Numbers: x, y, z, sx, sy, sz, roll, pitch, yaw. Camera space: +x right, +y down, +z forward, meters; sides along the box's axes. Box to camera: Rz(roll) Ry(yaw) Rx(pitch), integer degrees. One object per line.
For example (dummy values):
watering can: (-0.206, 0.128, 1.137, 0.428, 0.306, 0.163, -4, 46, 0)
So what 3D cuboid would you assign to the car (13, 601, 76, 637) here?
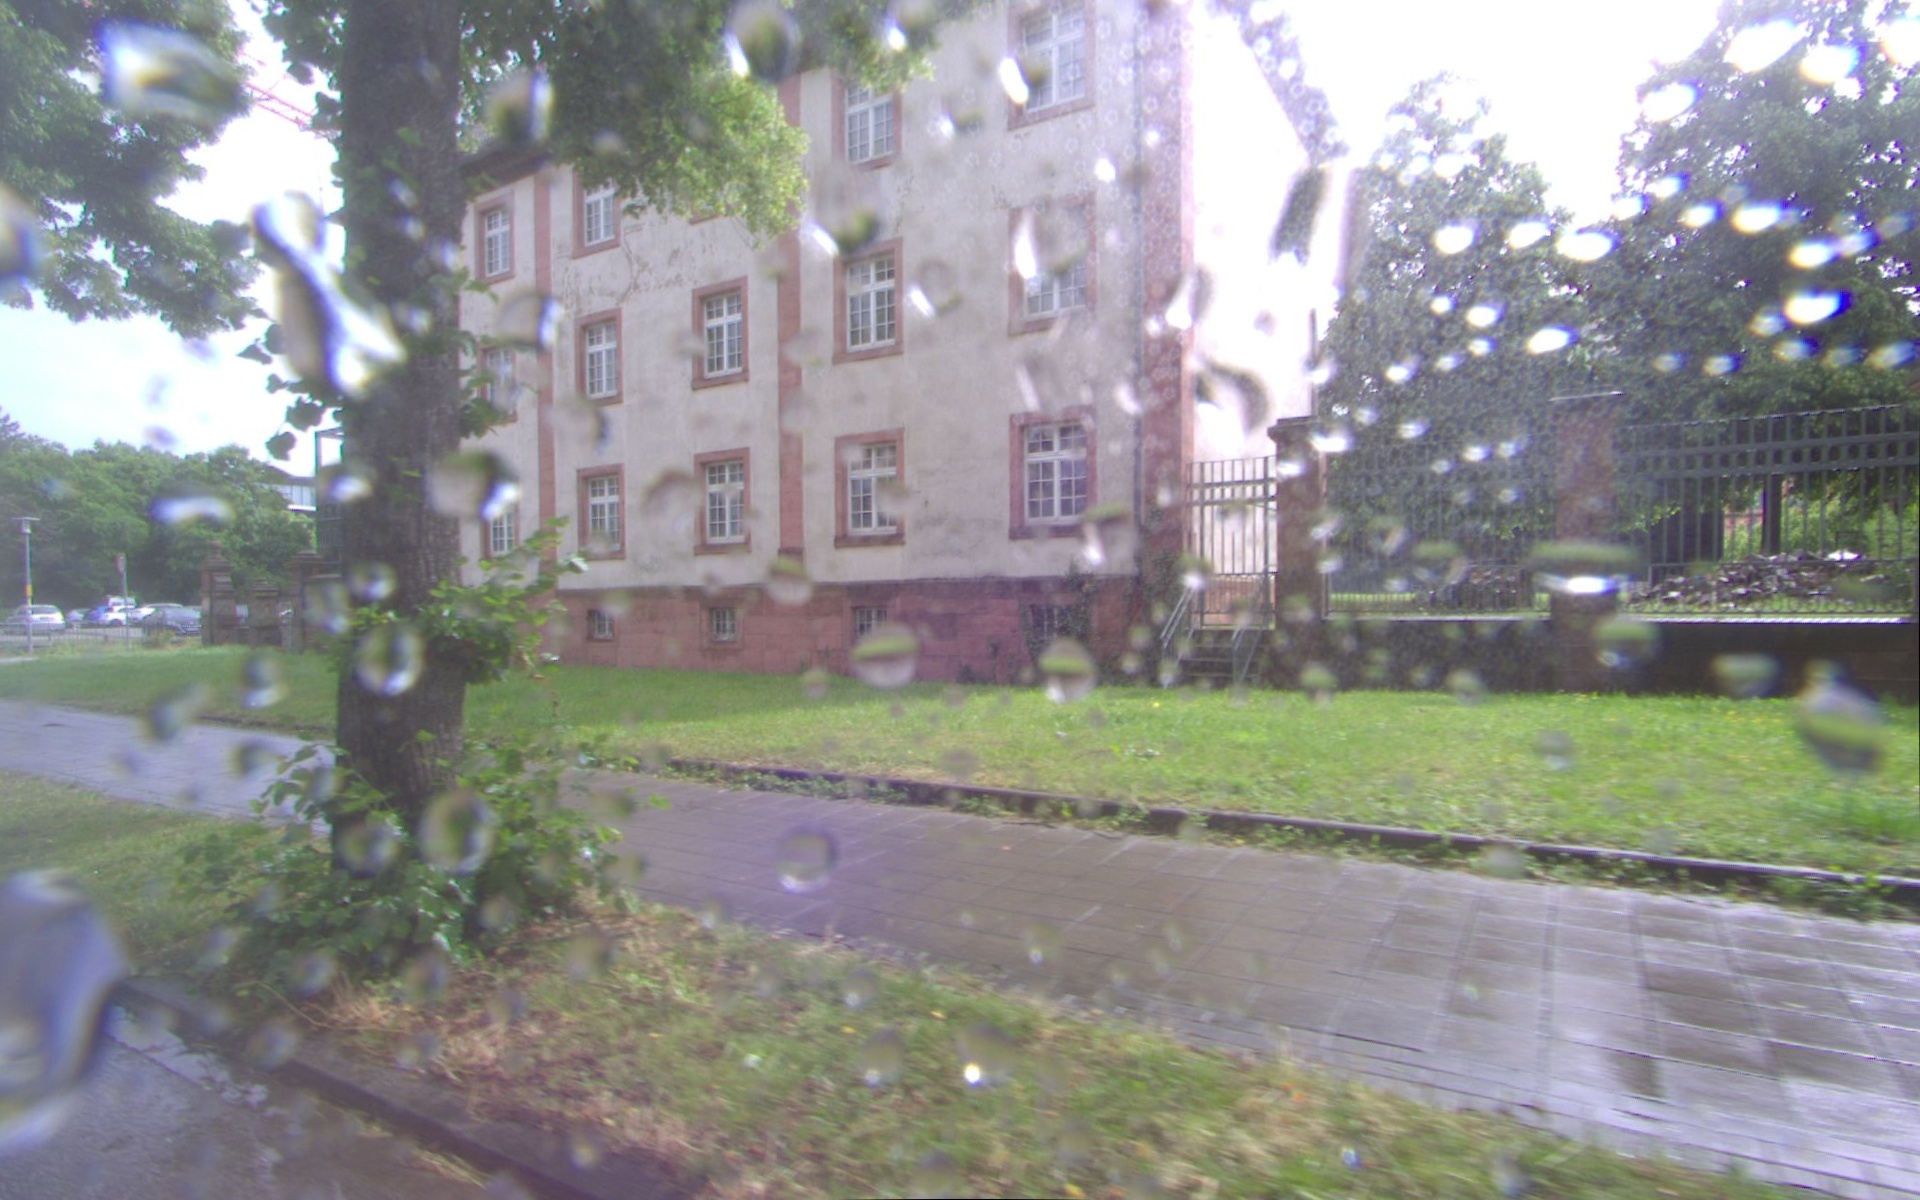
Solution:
car: (-47.540, 0.950, 51.982, 3.822, 1.707, 1.734, 0, 3, 39)

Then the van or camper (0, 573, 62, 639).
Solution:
van or camper: (-39.520, 0.253, 39.969, 2.136, 2.630, 5.023, 0, 1, 31)

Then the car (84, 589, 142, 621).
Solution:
car: (-56.366, 0.326, 66.601, 3.948, 2.041, 1.986, 0, 3, 36)

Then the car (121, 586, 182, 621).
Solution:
car: (-51.532, 0.231, 63.799, 3.948, 2.041, 1.986, 0, 3, 36)
